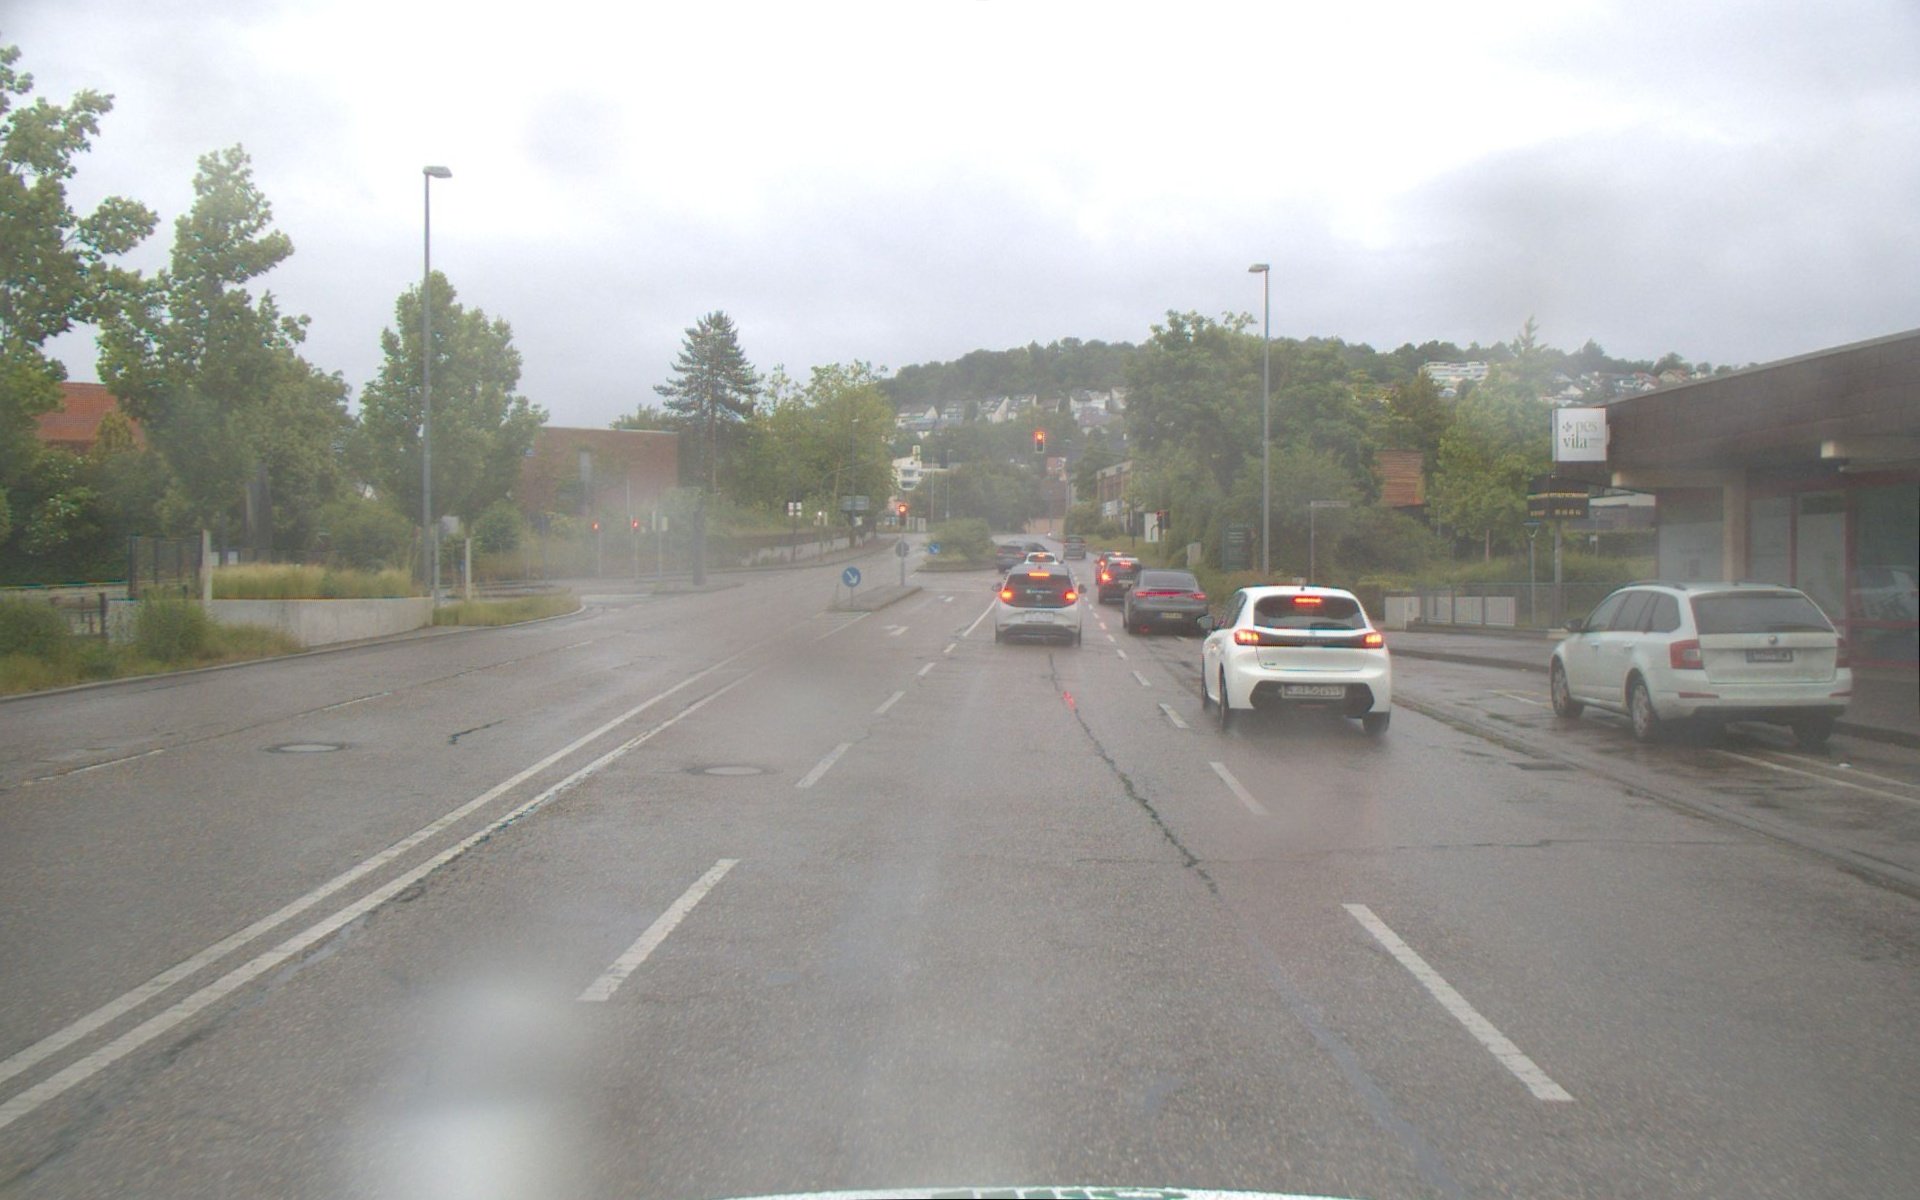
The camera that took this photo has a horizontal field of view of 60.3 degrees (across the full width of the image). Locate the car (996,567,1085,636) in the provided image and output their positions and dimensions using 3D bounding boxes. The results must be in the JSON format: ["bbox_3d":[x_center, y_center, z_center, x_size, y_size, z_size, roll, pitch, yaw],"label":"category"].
[{"bbox_3d":[1.674,0.030,33.959,1.705,1.318,3.335,-1,0,4],"label":"car"}]

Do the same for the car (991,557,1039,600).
[{"bbox_3d":[1.617,-0.622,48.807,1.189,1.176,2.268,-1,-1,-4],"label":"car"}]

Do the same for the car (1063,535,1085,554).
[{"bbox_3d":[7.682,-3.752,111.920,1.338,1.177,2.426,-1,-1,0],"label":"car"}]

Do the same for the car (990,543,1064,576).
[{"bbox_3d":[3.518,-2.118,86.607,3.480,1.596,1.781,0,-2,-32],"label":"car"}]

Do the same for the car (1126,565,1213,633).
[{"bbox_3d":[4.952,-0.062,39.474,1.698,1.411,3.354,1,3,1],"label":"car"}]

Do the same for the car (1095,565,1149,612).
[{"bbox_3d":[5.566,-0.368,57.142,1.613,1.511,3.366,-1,-1,1],"label":"car"}]

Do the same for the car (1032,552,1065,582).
[{"bbox_3d":[3.763,-1.382,70.575,1.356,1.146,2.611,-1,-1,3],"label":"car"}]

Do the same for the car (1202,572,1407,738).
[{"bbox_3d":[3.600,0.491,17.885,1.655,1.545,3.936,1,1,4],"label":"car"}]

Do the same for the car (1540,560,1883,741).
[{"bbox_3d":[7.289,0.397,16.572,1.694,1.523,4.483,-2,1,5],"label":"car"}]

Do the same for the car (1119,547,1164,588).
[{"bbox_3d":[7.208,-1.262,65.947,1.532,1.422,3.959,-1,-1,3],"label":"car"}]
